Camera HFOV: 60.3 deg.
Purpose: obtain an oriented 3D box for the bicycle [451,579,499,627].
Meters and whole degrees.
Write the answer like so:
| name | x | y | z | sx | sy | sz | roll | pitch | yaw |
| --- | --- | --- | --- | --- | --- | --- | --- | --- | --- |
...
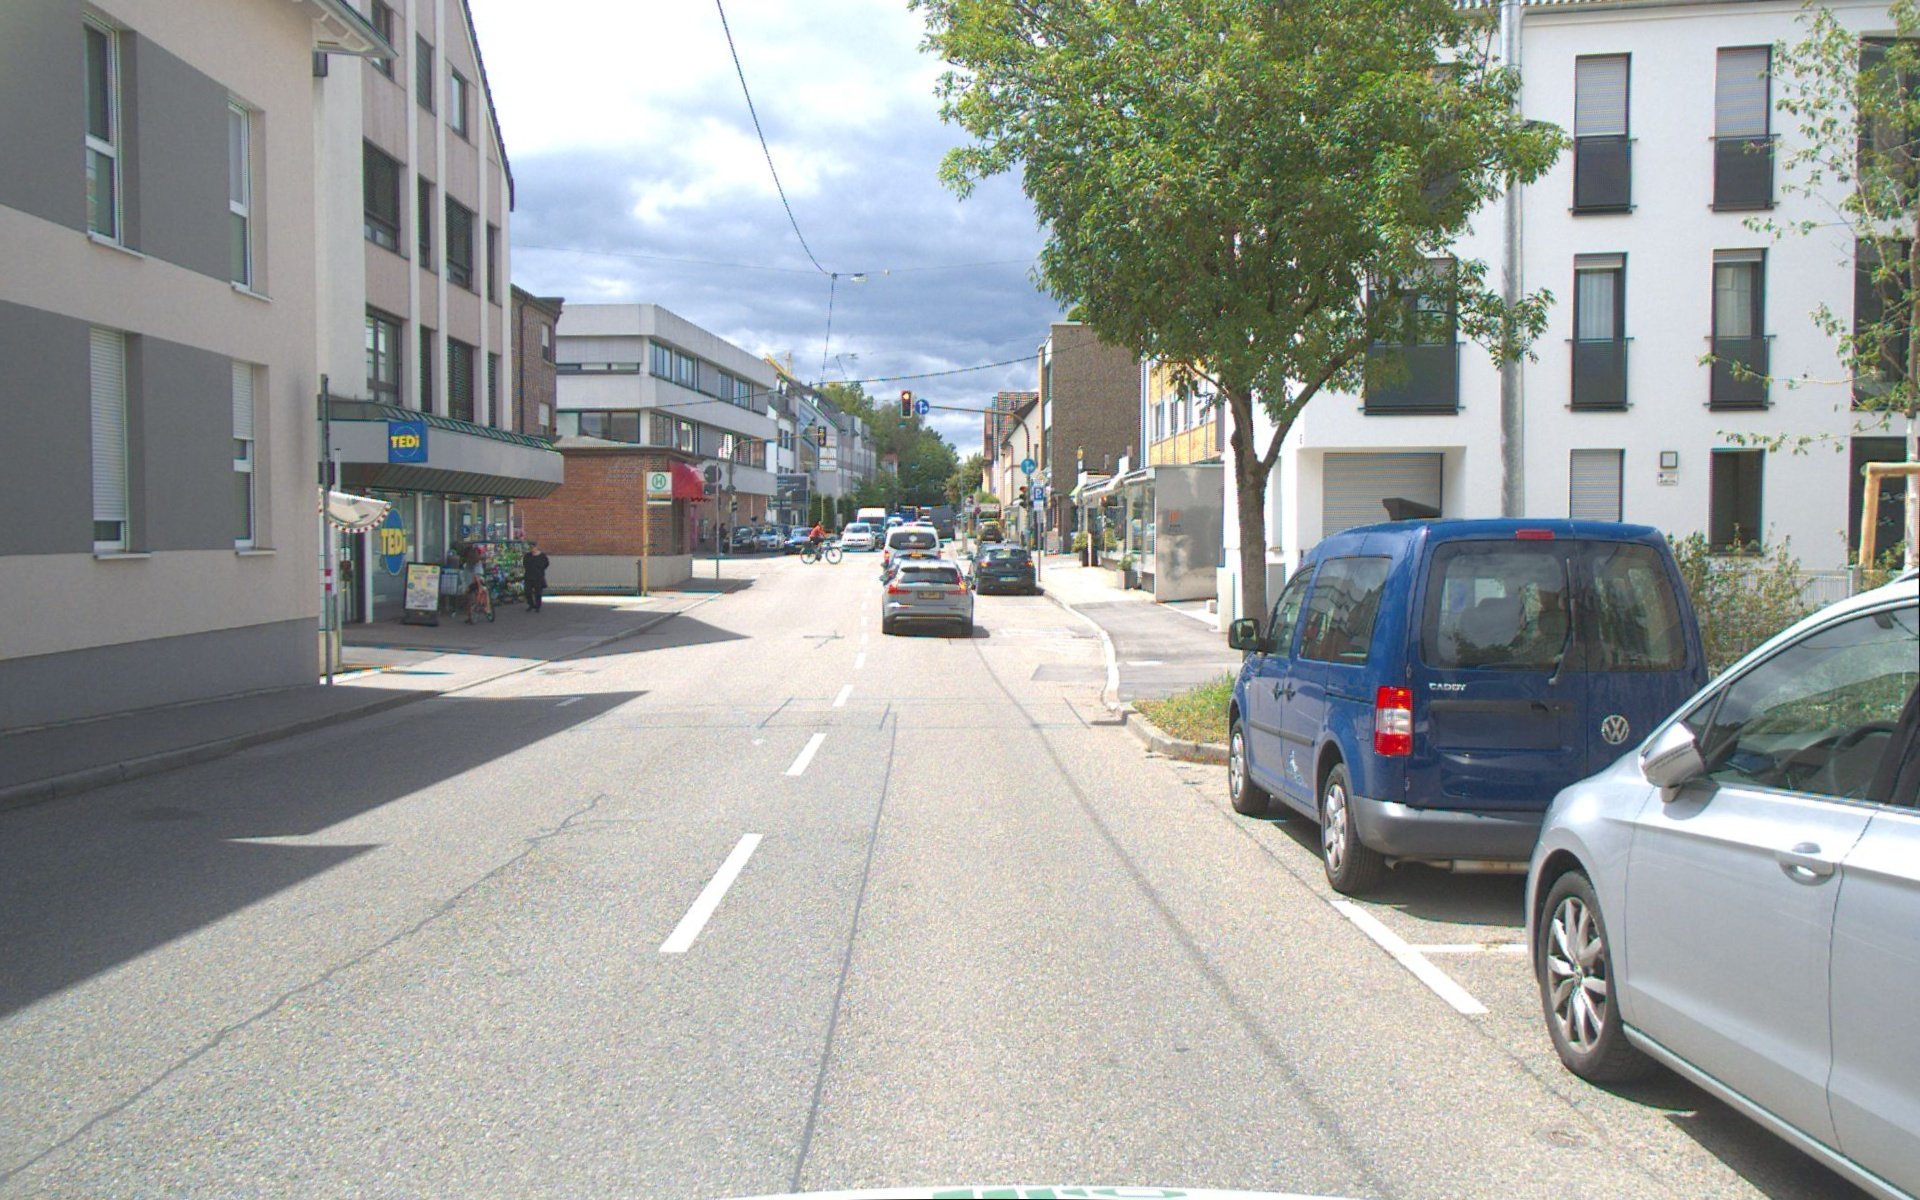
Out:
| name | x | y | z | sx | sy | sz | roll | pitch | yaw |
| --- | --- | --- | --- | --- | --- | --- | --- | --- | --- |
| bicycle | -9.667 | 0.045 | 33.001 | 0.457 | 0.876 | 1.777 | 1 | 3 | -1 |

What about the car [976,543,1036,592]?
| name | x | y | z | sx | sy | sz | roll | pitch | yaw |
| --- | --- | --- | --- | --- | --- | --- | --- | --- | --- |
| car | 1.375 | -1.004 | 50.002 | 1.716 | 1.394 | 4.001 | 0 | 2 | 1 |

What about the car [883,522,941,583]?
| name | x | y | z | sx | sy | sz | roll | pitch | yaw |
| --- | --- | --- | --- | --- | --- | --- | --- | --- | --- |
| car | -1.535 | -1.506 | 53.504 | 1.799 | 1.894 | 3.850 | 0 | 1 | -1 |

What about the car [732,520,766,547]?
| name | x | y | z | sx | sy | sz | roll | pitch | yaw |
| --- | --- | --- | --- | --- | --- | --- | --- | --- | --- |
| car | -11.758 | -3.690 | 92.329 | 1.520 | 1.400 | 3.398 | 0 | 0 | -1 |

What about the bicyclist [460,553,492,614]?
| name | x | y | z | sx | sy | sz | roll | pitch | yaw |
| --- | --- | --- | --- | --- | --- | --- | --- | --- | --- |
| bicyclist | -9.660 | -0.334 | 33.038 | 0.448 | 1.199 | 0.624 | 0 | 1 | -1 |

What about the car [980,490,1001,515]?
| name | x | y | z | sx | sy | sz | roll | pitch | yaw |
| --- | --- | --- | --- | --- | --- | --- | --- | --- | --- |
| car | 2.688 | -8.683 | 147.598 | 1.765 | 2.049 | 3.999 | 0 | 0 | -1 |

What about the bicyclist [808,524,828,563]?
| name | x | y | z | sx | sy | sz | roll | pitch | yaw |
| --- | --- | --- | --- | --- | --- | --- | --- | --- | --- |
| bicyclist | -6.011 | -2.402 | 70.148 | 0.756 | 1.634 | 0.581 | 0 | 0 | 5 |

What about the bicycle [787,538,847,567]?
| name | x | y | z | sx | sy | sz | roll | pitch | yaw |
| --- | --- | --- | --- | --- | --- | --- | --- | --- | --- |
| bicycle | -6.051 | -2.020 | 70.130 | 2.470 | 1.194 | 0.586 | 0 | 1 | 5 |

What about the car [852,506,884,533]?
| name | x | y | z | sx | sy | sz | roll | pitch | yaw |
| --- | --- | --- | --- | --- | --- | --- | --- | --- | --- |
| car | -6.153 | -5.386 | 110.878 | 1.834 | 1.668 | 4.001 | 0 | 0 | 1 |

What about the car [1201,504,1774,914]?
| name | x | y | z | sx | sy | sz | roll | pitch | yaw |
| --- | --- | --- | --- | --- | --- | --- | --- | --- | --- |
| car | 2.659 | 0.466 | 9.549 | 1.807 | 1.798 | 4.514 | 0 | 0 | -1 |

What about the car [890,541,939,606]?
| name | x | y | z | sx | sy | sz | roll | pitch | yaw |
| --- | --- | --- | --- | --- | --- | --- | --- | --- | --- |
| car | -1.211 | -0.732 | 43.896 | 1.248 | 1.553 | 3.051 | 0 | 4 | -1 |

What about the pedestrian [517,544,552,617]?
| name | x | y | z | sx | sy | sz | roll | pitch | yaw |
| --- | --- | --- | --- | --- | --- | --- | --- | --- | --- |
| pedestrian | -9.689 | -0.449 | 37.663 | 0.615 | 1.630 | 0.563 | 1 | 1 | 3 |

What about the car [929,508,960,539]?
| name | x | y | z | sx | sy | sz | roll | pitch | yaw |
| --- | --- | --- | --- | --- | --- | --- | --- | --- | --- |
| car | -1.284 | -6.193 | 134.091 | 2.387 | 2.359 | 5.326 | 1 | 1 | -1 |

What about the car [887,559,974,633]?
| name | x | y | z | sx | sy | sz | roll | pitch | yaw |
| --- | --- | --- | --- | --- | --- | --- | --- | --- | --- |
| car | -0.609 | -0.118 | 34.498 | 1.708 | 1.441 | 4.000 | 0 | 1 | -1 |

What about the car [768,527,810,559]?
| name | x | y | z | sx | sy | sz | roll | pitch | yaw |
| --- | --- | --- | --- | --- | --- | --- | --- | --- | --- |
| car | -9.632 | -3.178 | 93.240 | 1.834 | 1.668 | 4.001 | 1 | 1 | 1 |

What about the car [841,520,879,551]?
| name | x | y | z | sx | sy | sz | roll | pitch | yaw |
| --- | --- | --- | --- | --- | --- | --- | --- | --- | --- |
| car | -5.837 | -3.731 | 96.598 | 1.834 | 1.668 | 4.001 | 1 | 1 | 1 |

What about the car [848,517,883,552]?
| name | x | y | z | sx | sy | sz | roll | pitch | yaw |
| --- | --- | --- | --- | --- | --- | --- | --- | --- | --- |
| car | -5.858 | -4.062 | 102.896 | 1.953 | 2.049 | 3.999 | 1 | 1 | -1 |

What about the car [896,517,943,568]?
| name | x | y | z | sx | sy | sz | roll | pitch | yaw |
| --- | --- | --- | --- | --- | --- | --- | --- | --- | --- |
| car | -1.574 | -2.239 | 65.309 | 1.799 | 1.894 | 3.850 | 0 | 1 | -1 |

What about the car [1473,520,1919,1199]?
| name | x | y | z | sx | sy | sz | roll | pitch | yaw |
| --- | --- | --- | --- | --- | --- | --- | --- | --- | --- |
| car | 2.730 | 0.615 | 3.706 | 1.750 | 1.535 | 4.364 | 0 | 0 | -1 |

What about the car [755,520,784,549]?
| name | x | y | z | sx | sy | sz | roll | pitch | yaw |
| --- | --- | --- | --- | --- | --- | --- | --- | --- | --- |
| car | -11.200 | -3.856 | 97.406 | 1.356 | 1.568 | 3.398 | 0 | 0 | -1 |

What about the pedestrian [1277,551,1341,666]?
| name | x | y | z | sx | sy | sz | roll | pitch | yaw |
| --- | --- | --- | --- | --- | --- | --- | --- | --- | --- |
| pedestrian | 5.169 | 0.114 | 24.484 | 0.733 | 1.676 | 0.607 | -1 | 1 | -42 |
